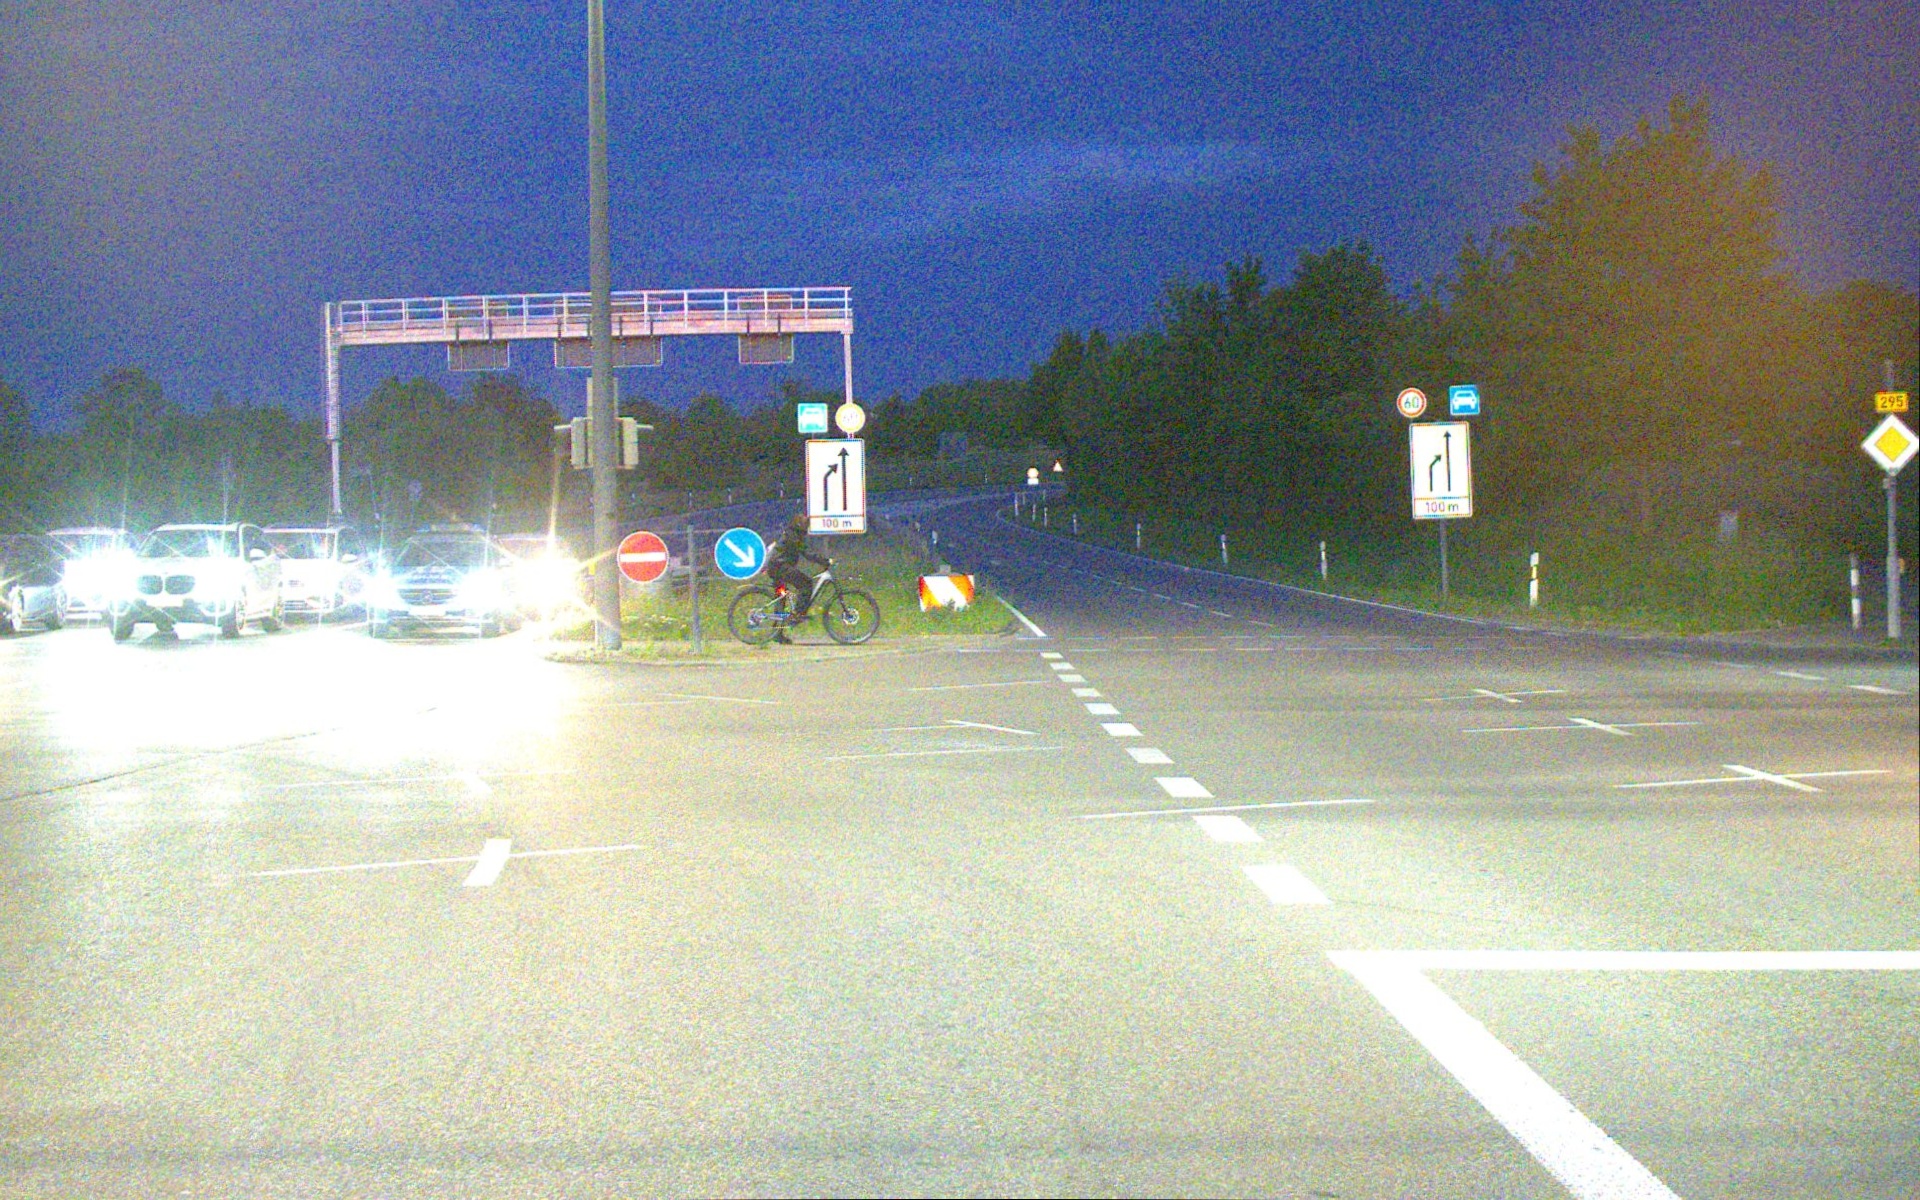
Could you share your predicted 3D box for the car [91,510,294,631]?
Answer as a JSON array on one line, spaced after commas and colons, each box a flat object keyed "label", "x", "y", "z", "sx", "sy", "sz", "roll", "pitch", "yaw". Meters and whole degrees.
[{"label": "car", "x": -11.222, "y": -0.477, "z": 50.559, "sx": 1.908, "sy": 1.676, "sz": 4.420, "roll": 0, "pitch": 2, "yaw": 1}]

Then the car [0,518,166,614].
[{"label": "car", "x": -14.799, "y": -0.601, "z": 58.018, "sx": 1.831, "sy": 1.519, "sz": 4.000, "roll": -1, "pitch": 2, "yaw": 0}]

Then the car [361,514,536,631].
[{"label": "car", "x": -7.484, "y": -0.441, "z": 50.706, "sx": 1.852, "sy": 1.627, "sz": 4.585, "roll": 0, "pitch": 2, "yaw": 1}]

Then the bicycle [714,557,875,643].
[{"label": "bicycle", "x": -2.153, "y": -0.004, "z": 44.555, "sx": 2.061, "sy": 1.097, "sz": 0.695, "roll": 0, "pitch": 1, "yaw": -5}]

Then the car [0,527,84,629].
[{"label": "car", "x": -14.685, "y": -0.361, "z": 51.680, "sx": 1.780, "sy": 1.441, "sz": 4.291, "roll": 0, "pitch": 2, "yaw": 2}]

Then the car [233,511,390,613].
[{"label": "car", "x": -10.892, "y": -0.670, "z": 57.995, "sx": 1.745, "sy": 1.621, "sz": 4.363, "roll": 0, "pitch": 2, "yaw": 1}]

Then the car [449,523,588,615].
[{"label": "car", "x": -7.502, "y": -0.556, "z": 58.755, "sx": 1.773, "sy": 1.476, "sz": 3.910, "roll": 1, "pitch": 1, "yaw": 1}]

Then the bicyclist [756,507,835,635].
[{"label": "bicyclist", "x": -2.137, "y": -0.381, "z": 44.564, "sx": 0.997, "sy": 1.645, "sz": 0.604, "roll": 0, "pitch": 1, "yaw": -5}]

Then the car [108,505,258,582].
[{"label": "car", "x": -14.760, "y": -1.105, "z": 65.519, "sx": 1.831, "sy": 1.385, "sz": 4.397, "roll": -1, "pitch": 2, "yaw": 0}]
